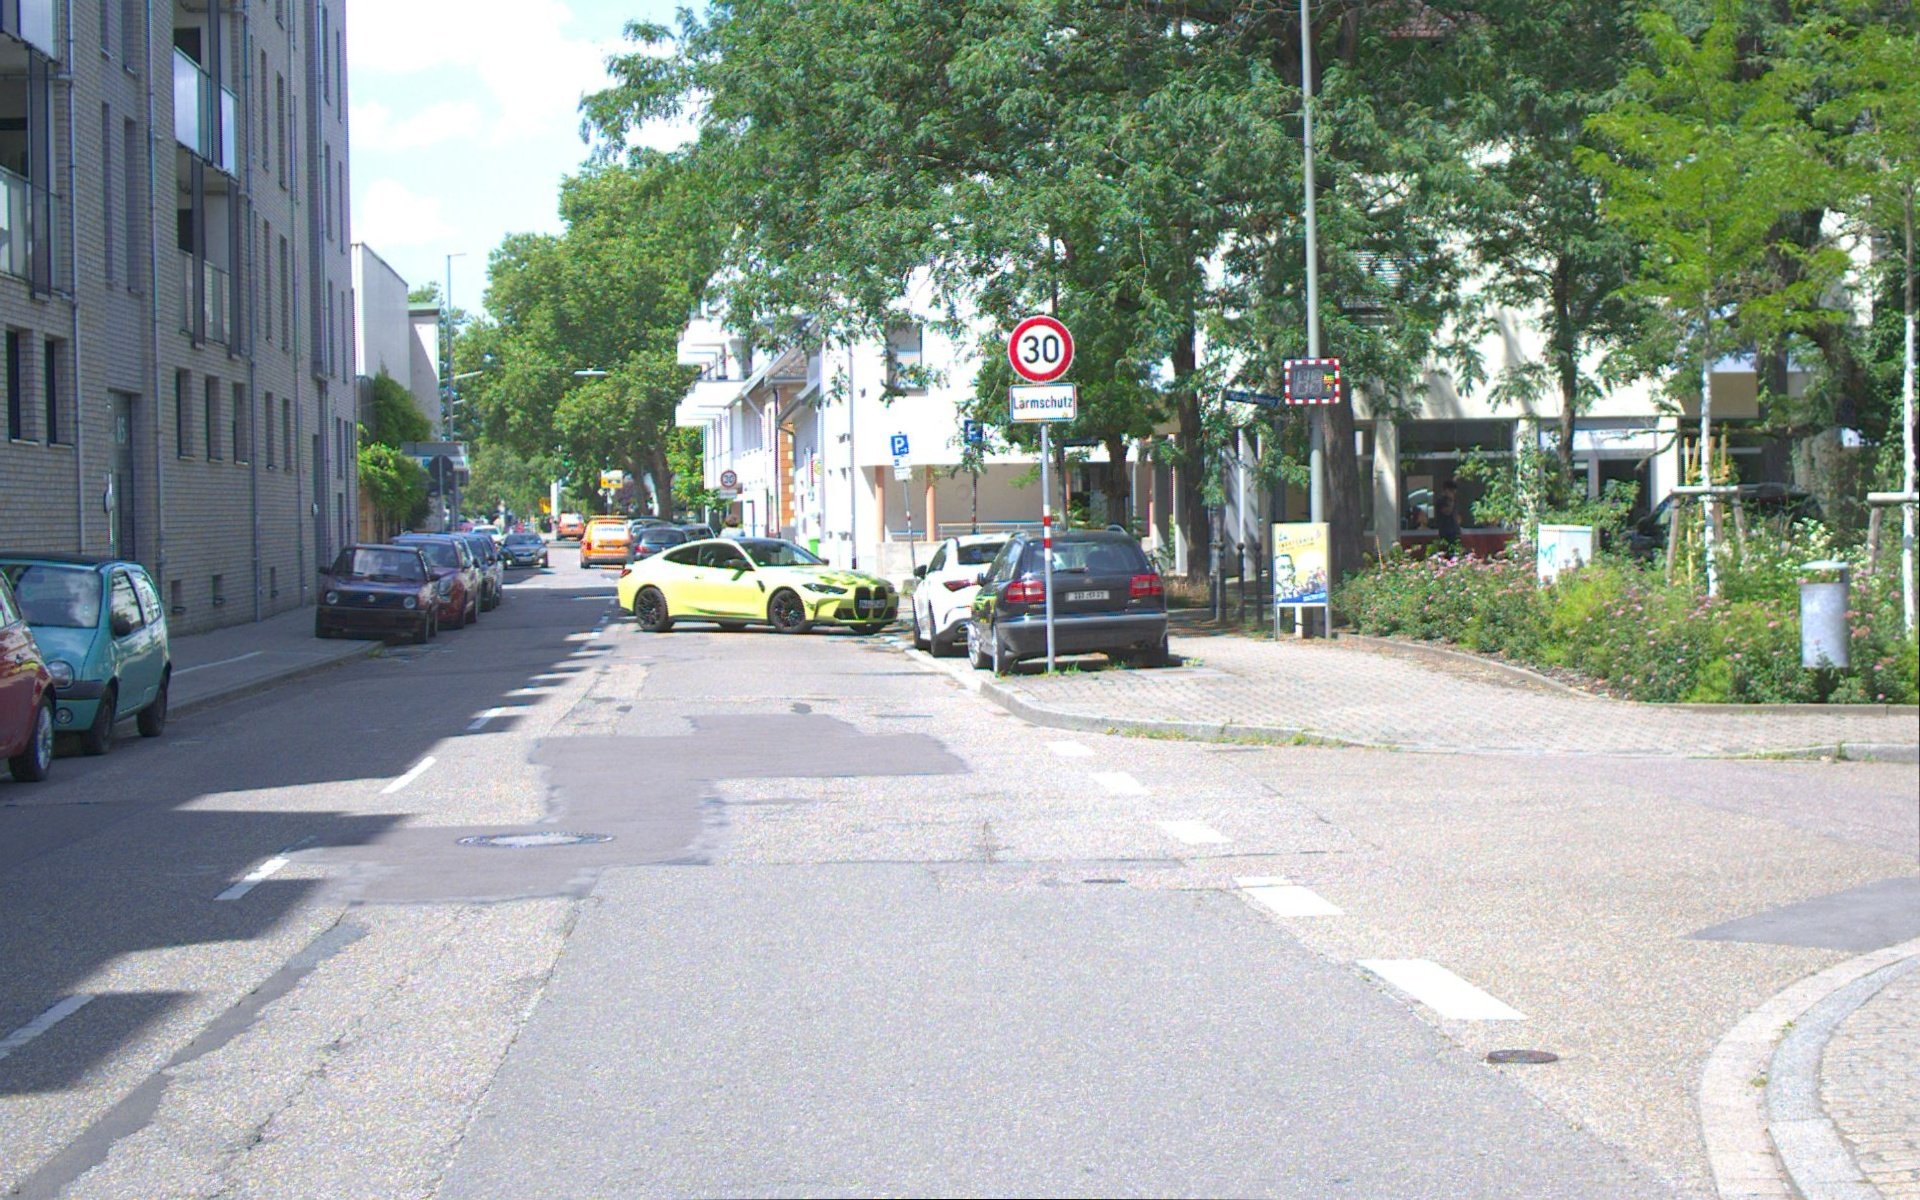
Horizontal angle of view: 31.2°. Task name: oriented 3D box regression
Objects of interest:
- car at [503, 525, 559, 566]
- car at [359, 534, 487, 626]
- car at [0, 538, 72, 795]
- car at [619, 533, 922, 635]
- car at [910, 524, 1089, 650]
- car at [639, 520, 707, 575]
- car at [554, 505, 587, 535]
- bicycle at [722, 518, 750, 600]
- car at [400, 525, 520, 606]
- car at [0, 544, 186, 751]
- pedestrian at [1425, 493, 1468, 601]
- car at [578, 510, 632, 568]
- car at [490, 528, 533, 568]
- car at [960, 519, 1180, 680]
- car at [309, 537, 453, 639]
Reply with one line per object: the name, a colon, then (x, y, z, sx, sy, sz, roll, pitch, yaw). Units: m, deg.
car: (-16.496, -2.114, 132.320, 1.993, 1.514, 4.001, -1, 2, -6)
car: (-8.800, -0.354, 56.549, 1.732, 1.437, 4.001, -1, 1, -4)
car: (-6.650, 0.400, 21.286, 1.590, 1.548, 3.571, 0, 1, -4)
car: (-2.836, -0.259, 50.773, 4.389, 1.376, 1.995, 2, 2, 44)
car: (0.429, -0.185, 41.463, 1.778, 1.415, 4.001, -1, 1, -5)
car: (-7.826, -1.451, 94.096, 1.715, 1.397, 4.001, -1, 2, -3)
car: (-26.609, -5.470, 234.722, 2.156, 2.007, 4.001, -1, 1, -7)
bicycle: (-4.109, -0.752, 62.962, 0.477, 1.485, 0.576, -1, 1, -5)
car: (-9.270, -0.656, 63.954, 1.826, 1.415, 4.001, 1, 1, -3)
car: (-7.064, 0.312, 26.485, 1.590, 1.451, 3.704, 1, 1, -4)
pedestrian: (8.384, -0.917, 59.245, 0.596, 1.852, 0.603, -1, 1, 20)
car: (-12.853, -2.220, 124.495, 1.838, 2.006, 4.001, -1, 2, -5)
car: (-23.493, -2.743, 180.123, 1.993, 2.007, 4.001, -1, 1, -5)
car: (1.046, -0.045, 34.546, 1.692, 1.415, 4.001, -4, 1, -4)
car: (-8.630, -0.209, 51.508, 1.732, 1.437, 4.001, -1, 1, -4)
